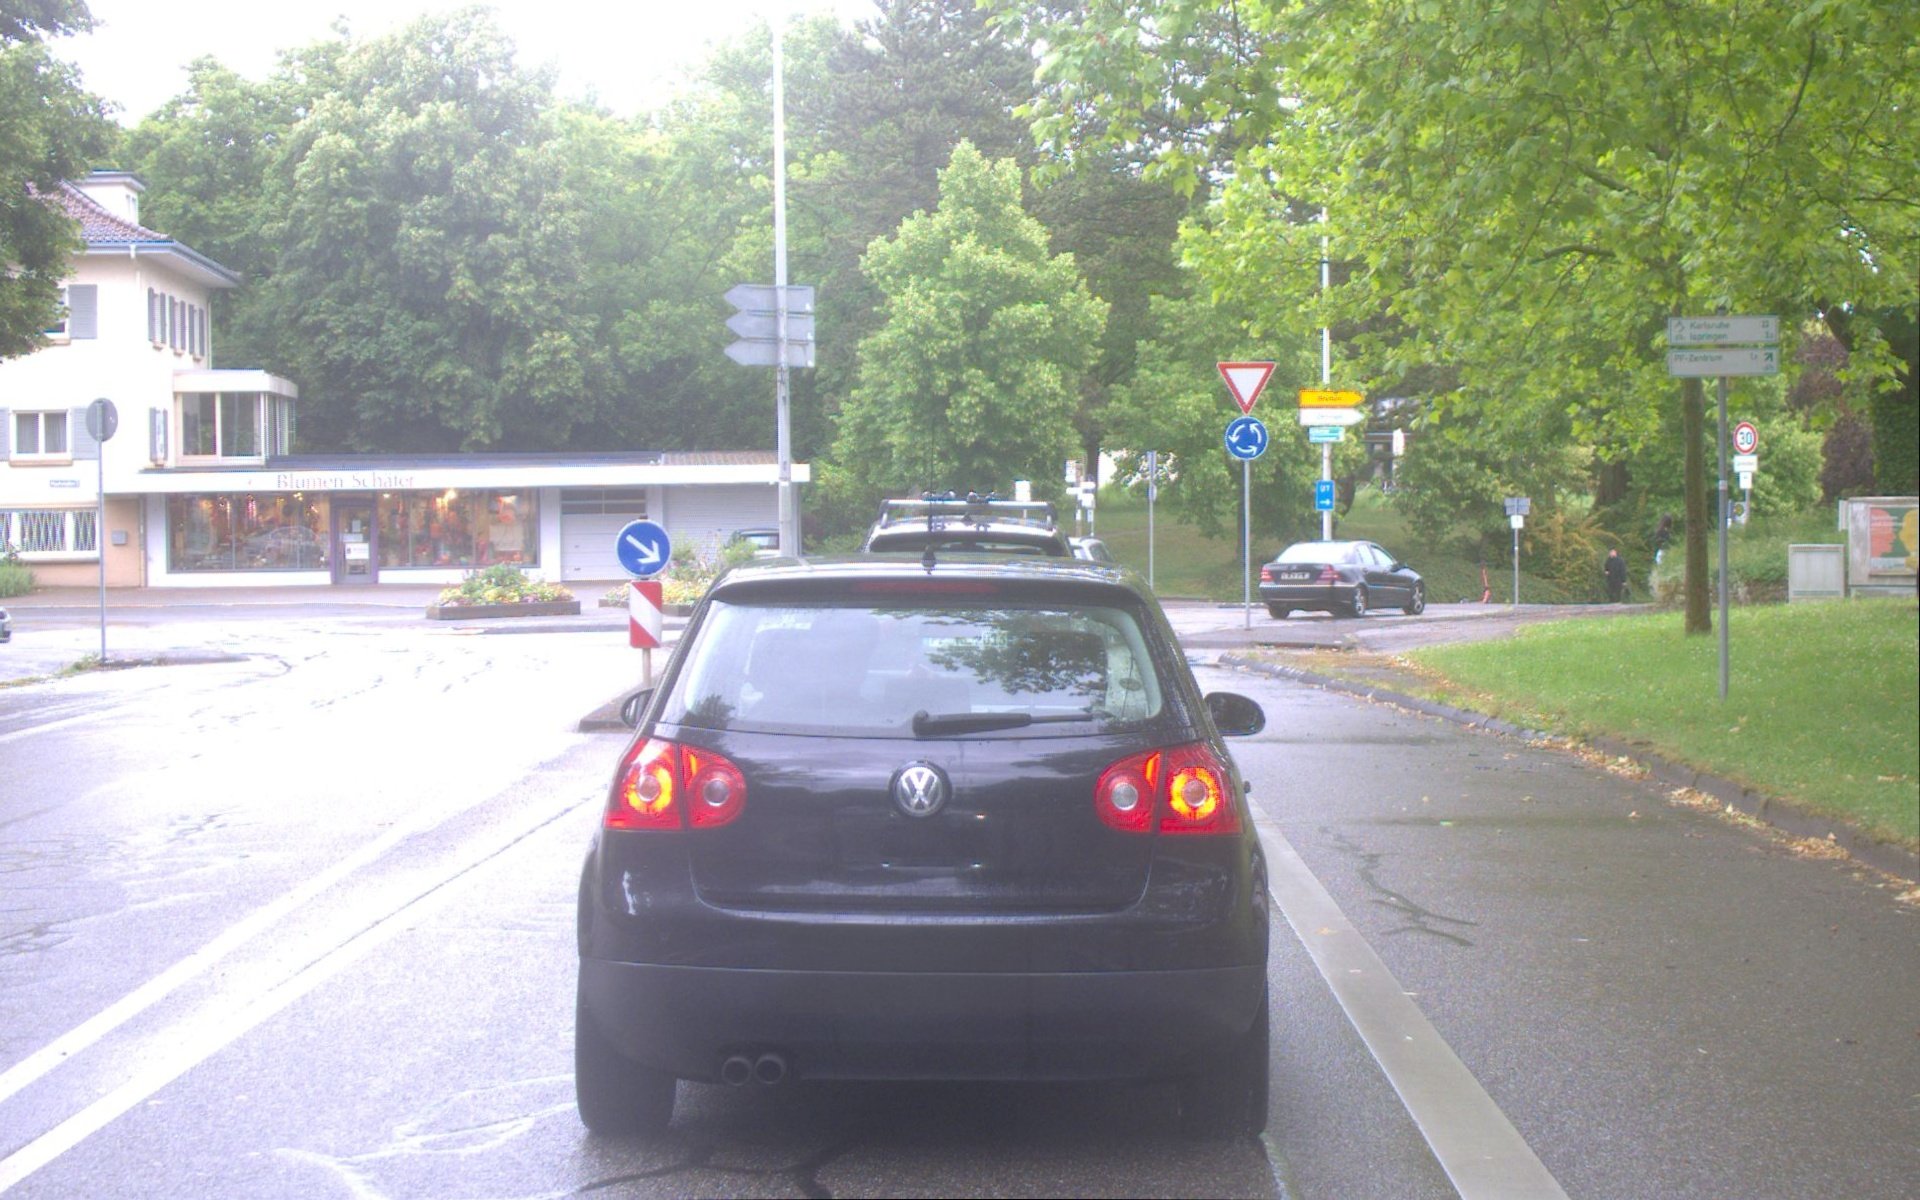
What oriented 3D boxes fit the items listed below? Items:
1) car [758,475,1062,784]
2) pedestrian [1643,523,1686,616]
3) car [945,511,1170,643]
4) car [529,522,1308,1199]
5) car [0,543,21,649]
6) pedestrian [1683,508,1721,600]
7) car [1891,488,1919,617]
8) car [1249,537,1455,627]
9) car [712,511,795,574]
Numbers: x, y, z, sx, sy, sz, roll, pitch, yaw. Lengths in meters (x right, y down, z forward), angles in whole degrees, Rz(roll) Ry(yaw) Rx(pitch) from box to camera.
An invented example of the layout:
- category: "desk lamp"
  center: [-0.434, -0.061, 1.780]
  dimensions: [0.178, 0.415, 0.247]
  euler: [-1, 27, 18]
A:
- category: "car"
  center: [-0.337, 0.149, 22.605]
  dimensions: [1.764, 1.795, 4.246]
  euler: [-1, 1, -1]
- category: "pedestrian"
  center: [13.028, -0.564, 63.626]
  dimensions: [0.528, 1.707, 0.636]
  euler: [1, 0, -14]
- category: "car"
  center: [1.410, -0.328, 48.001]
  dimensions: [1.995, 1.735, 4.140]
  euler: [1, 1, 19]
- category: "car"
  center: [-0.133, 0.579, 9.897]
  dimensions: [1.764, 1.533, 4.000]
  euler: [1, 1, -1]
- category: "car"
  center: [-17.273, -0.102, 55.014]
  dimensions: [4.019, 1.678, 2.000]
  euler: [1, 1, -4]
- category: "pedestrian"
  center: [13.872, -0.863, 64.286]
  dimensions: [0.634, 1.707, 0.529]
  euler: [1, 0, 17]
- category: "car"
  center: [11.811, -0.561, 37.773]
  dimensions: [1.764, 1.466, 4.598]
  euler: [-2, 1, -1]
- category: "car"
  center: [7.041, -0.319, 61.524]
  dimensions: [1.997, 1.525, 3.992]
  euler: [1, 1, 35]
- category: "car"
  center: [-5.206, -1.454, 86.255]
  dimensions: [1.812, 1.481, 3.832]
  euler: [-2, 1, -7]
